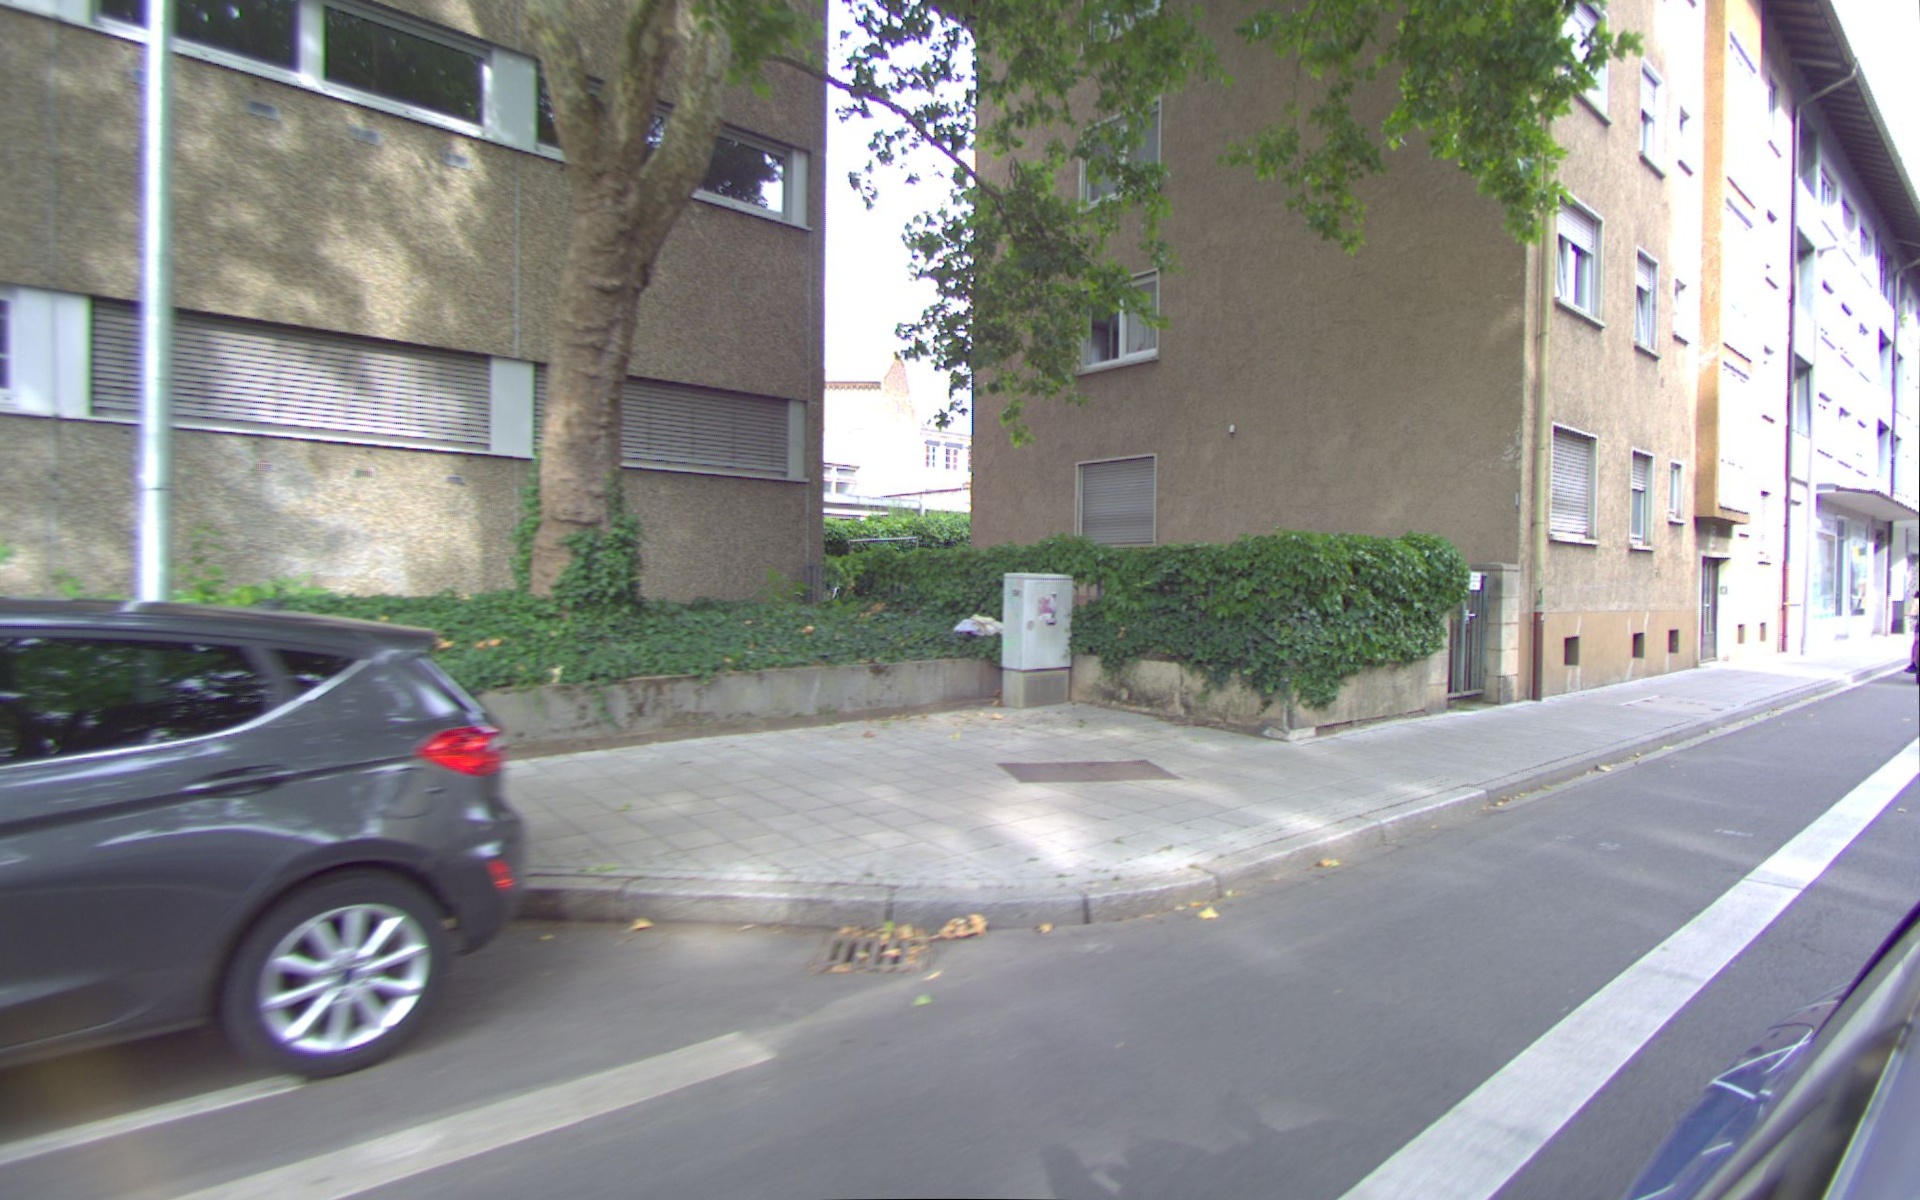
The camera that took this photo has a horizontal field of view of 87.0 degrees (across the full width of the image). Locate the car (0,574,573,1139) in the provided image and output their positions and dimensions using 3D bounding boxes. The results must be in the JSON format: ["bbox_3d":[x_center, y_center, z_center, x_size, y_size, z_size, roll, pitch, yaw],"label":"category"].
[{"bbox_3d":[-3.336,0.643,2.934,3.798,1.440,1.661,1,1,-41],"label":"car"}]
